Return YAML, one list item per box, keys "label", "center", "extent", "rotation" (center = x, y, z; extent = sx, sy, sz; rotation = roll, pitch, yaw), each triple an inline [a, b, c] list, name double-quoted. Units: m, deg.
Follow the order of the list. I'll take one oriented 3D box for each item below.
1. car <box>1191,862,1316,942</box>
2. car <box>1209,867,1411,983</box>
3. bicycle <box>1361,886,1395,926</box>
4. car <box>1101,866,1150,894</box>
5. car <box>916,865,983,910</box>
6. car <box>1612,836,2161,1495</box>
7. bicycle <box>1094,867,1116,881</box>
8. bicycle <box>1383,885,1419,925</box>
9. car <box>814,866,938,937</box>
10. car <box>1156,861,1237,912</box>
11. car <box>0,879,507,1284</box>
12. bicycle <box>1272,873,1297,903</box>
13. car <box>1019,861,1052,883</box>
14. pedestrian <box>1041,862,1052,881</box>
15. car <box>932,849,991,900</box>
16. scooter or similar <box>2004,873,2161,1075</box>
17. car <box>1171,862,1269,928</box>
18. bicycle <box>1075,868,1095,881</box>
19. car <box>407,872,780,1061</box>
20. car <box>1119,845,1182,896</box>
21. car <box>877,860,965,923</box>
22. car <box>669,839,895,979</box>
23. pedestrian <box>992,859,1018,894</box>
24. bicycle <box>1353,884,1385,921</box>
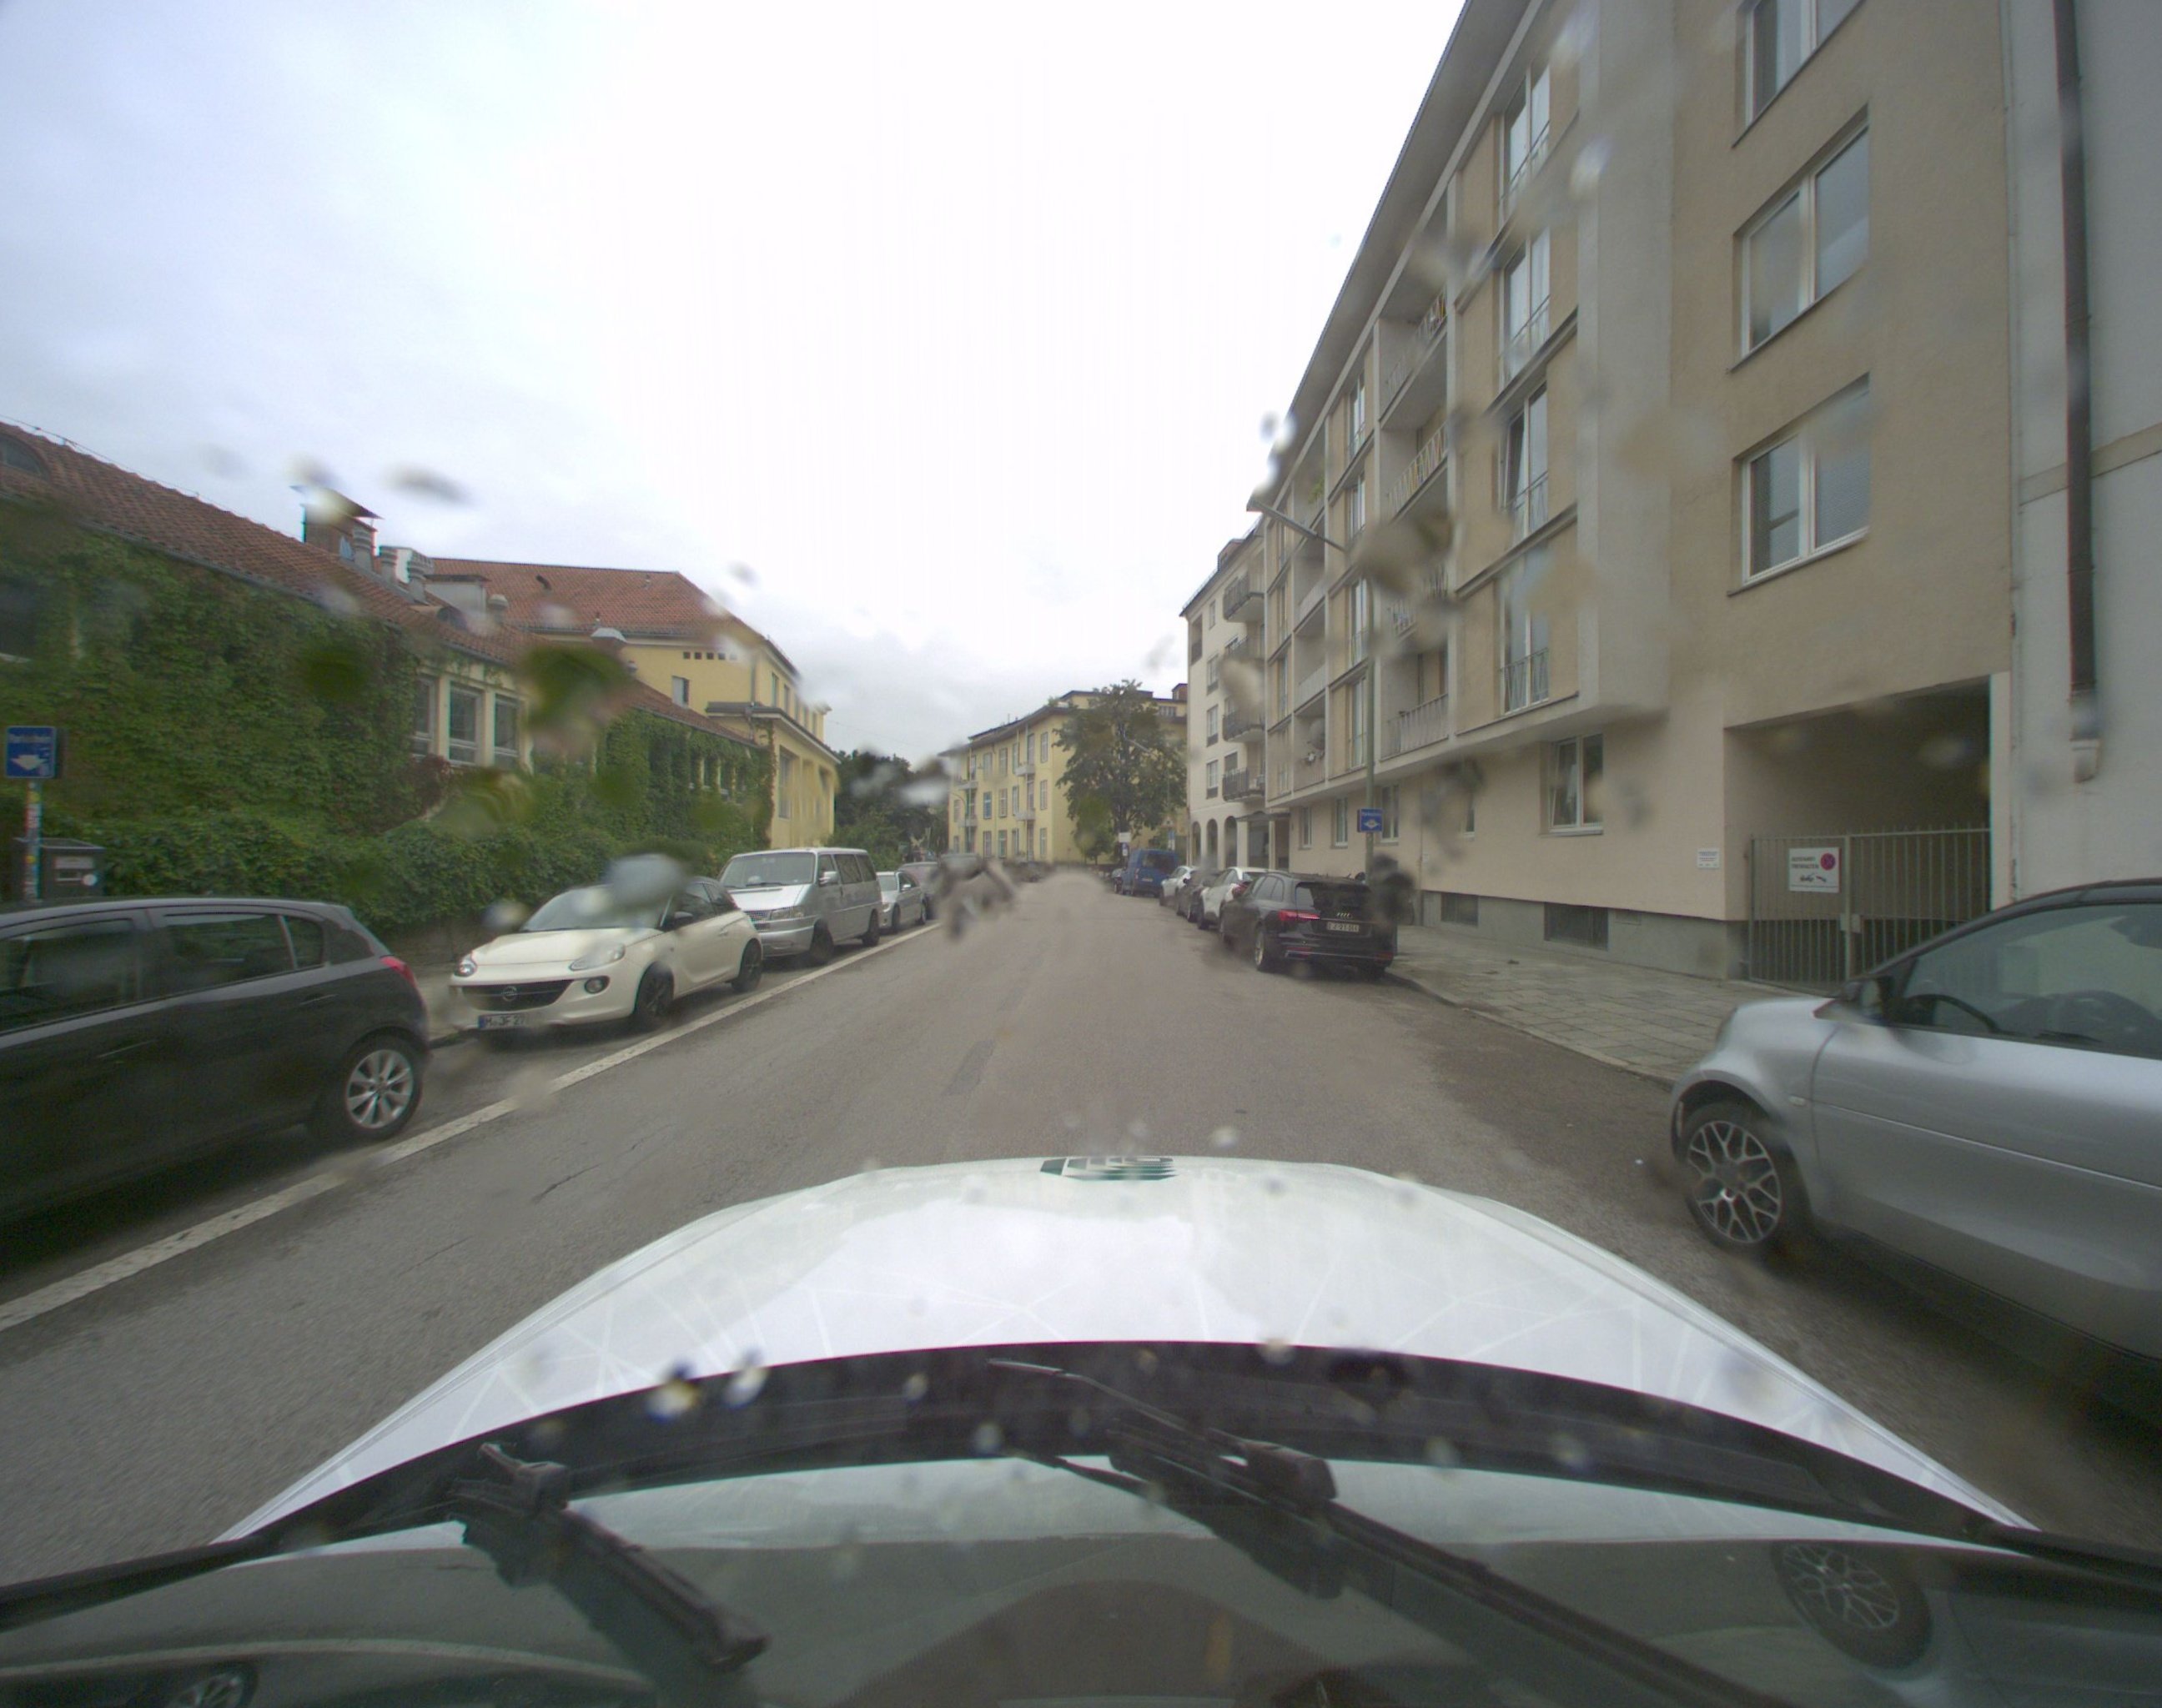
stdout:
- label: "car"
  center: [3.661, 0.956, 18.123]
  extent: [1.689, 1.489, 4.577]
  rotation: [2, -1, -1]
- label: "car"
  center: [3.405, 0.976, 13.181]
  extent: [1.740, 1.388, 4.951]
  rotation: [3, -1, -1]
- label: "bicycle"
  center: [7.401, 1.279, 20.320]
  extent: [0.376, 0.905, 1.392]
  rotation: [1, -1, 2]
- label: "car"
  center: [2.466, 1.438, 46.317]
  extent: [1.678, 1.389, 4.288]
  rotation: [4, -1, -11]
- label: "car"
  center: [-4.723, 1.160, 29.831]
  extent: [1.689, 1.393, 4.499]
  rotation: [-4, 0, -1]
- label: "car"
  center: [3.318, 0.751, 2.387]
  extent: [1.644, 1.495, 2.881]
  rotation: [3, 0, 1]
- label: "bicycle"
  center: [2.257, 1.871, 76.484]
  extent: [2.052, 1.201, 0.597]
  rotation: [0, -1, 14]
- label: "bicycle"
  center: [7.825, 1.222, 19.948]
  extent: [0.376, 0.905, 1.392]
  rotation: [1, -1, 2]
- label: "car"
  center: [-4.796, 1.044, 19.766]
  extent: [1.647, 1.414, 4.772]
  rotation: [-3, -1, 1]
- label: "car"
  center: [3.932, 1.069, 28.486]
  extent: [1.782, 1.533, 4.640]
  rotation: [3, -1, -5]
- label: "car"
  center: [-4.805, 0.911, 3.513]
  extent: [1.598, 1.430, 4.250]
  rotation: [-3, -1, 0]
- label: "bicycle"
  center: [7.935, 1.302, 31.740]
  extent: [0.454, 1.110, 1.852]
  rotation: [1, -1, -2]
- label: "car"
  center: [-4.348, 1.670, 76.728]
  extent: [1.769, 1.874, 4.348]
  rotation: [5, -2, -21]
- label: "pedestrian"
  center: [-3.278, 1.653, 76.936]
  extent: [0.877, 1.823, 0.793]
  rotation: [1, -1, -20]
- label: "car"
  center: [-5.052, 0.847, 35.085]
  extent: [2.069, 1.964, 5.340]
  rotation: [-2, -1, -5]
- label: "scooter or similar"
  center: [7.478, 0.807, 5.512]
  extent: [0.439, 1.359, 1.584]
  rotation: [1, -3, -10]
- label: "car"
  center: [3.798, 1.059, 23.155]
  extent: [1.873, 1.522, 5.163]
  rotation: [4, 0, 1]
- label: "bicycle"
  center: [0.386, 1.914, 77.672]
  extent: [1.903, 1.201, 0.599]
  rotation: [0, -1, 37]
- label: "car"
  center: [-4.780, 0.978, 8.766]
  extent: [1.586, 1.441, 4.017]
  rotation: [-2, -1, -1]
- label: "car"
  center: [3.349, 0.867, 40.175]
  extent: [2.076, 2.234, 5.233]
  rotation: [4, -3, -5]
- label: "car"
  center: [-4.705, 1.038, 24.526]
  extent: [1.692, 1.643, 4.489]
  rotation: [-3, -1, 0]
- label: "car"
  center: [-4.769, 0.799, 13.881]
  extent: [1.880, 1.889, 4.775]
  rotation: [-3, -1, 2]
- label: "pedestrian"
  center: [-4.067, 1.204, 43.550]
  extent: [0.923, 1.801, 0.962]
  rotation: [-2, -2, 45]
- label: "bicycle"
  center: [7.666, 1.276, 21.721]
  extent: [0.376, 0.905, 1.392]
  rotation: [1, -1, 2]
